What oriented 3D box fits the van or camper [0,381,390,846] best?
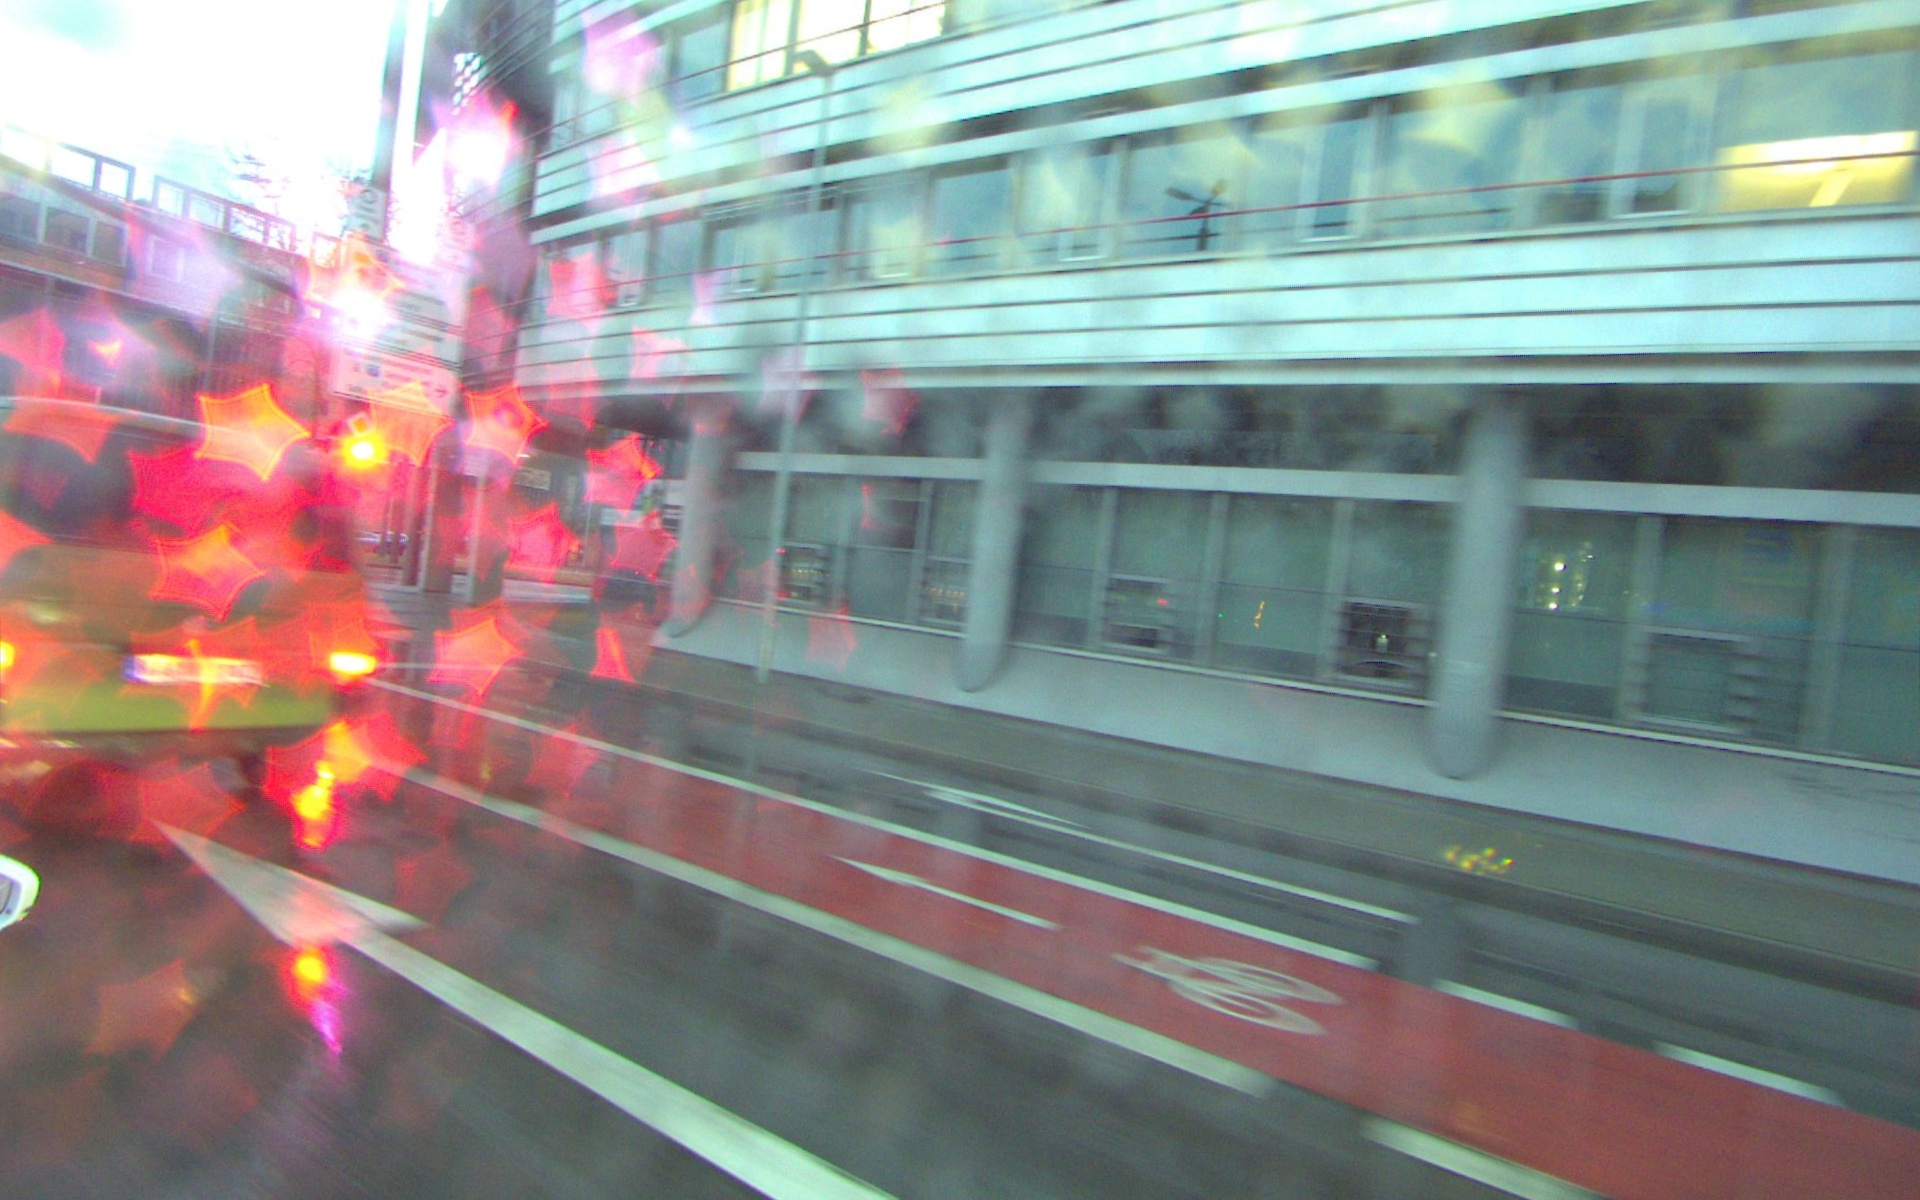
[{"bbox_3d":[-5.512,-0.092,5.845,4.345,1.929,1.760,7,-1,31],"label":"van or camper"}]

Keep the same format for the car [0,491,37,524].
[{"bbox_3d":[-44.928,-4.452,45.669,1.965,1.326,3.995,7,0,27],"label":"car"}]
